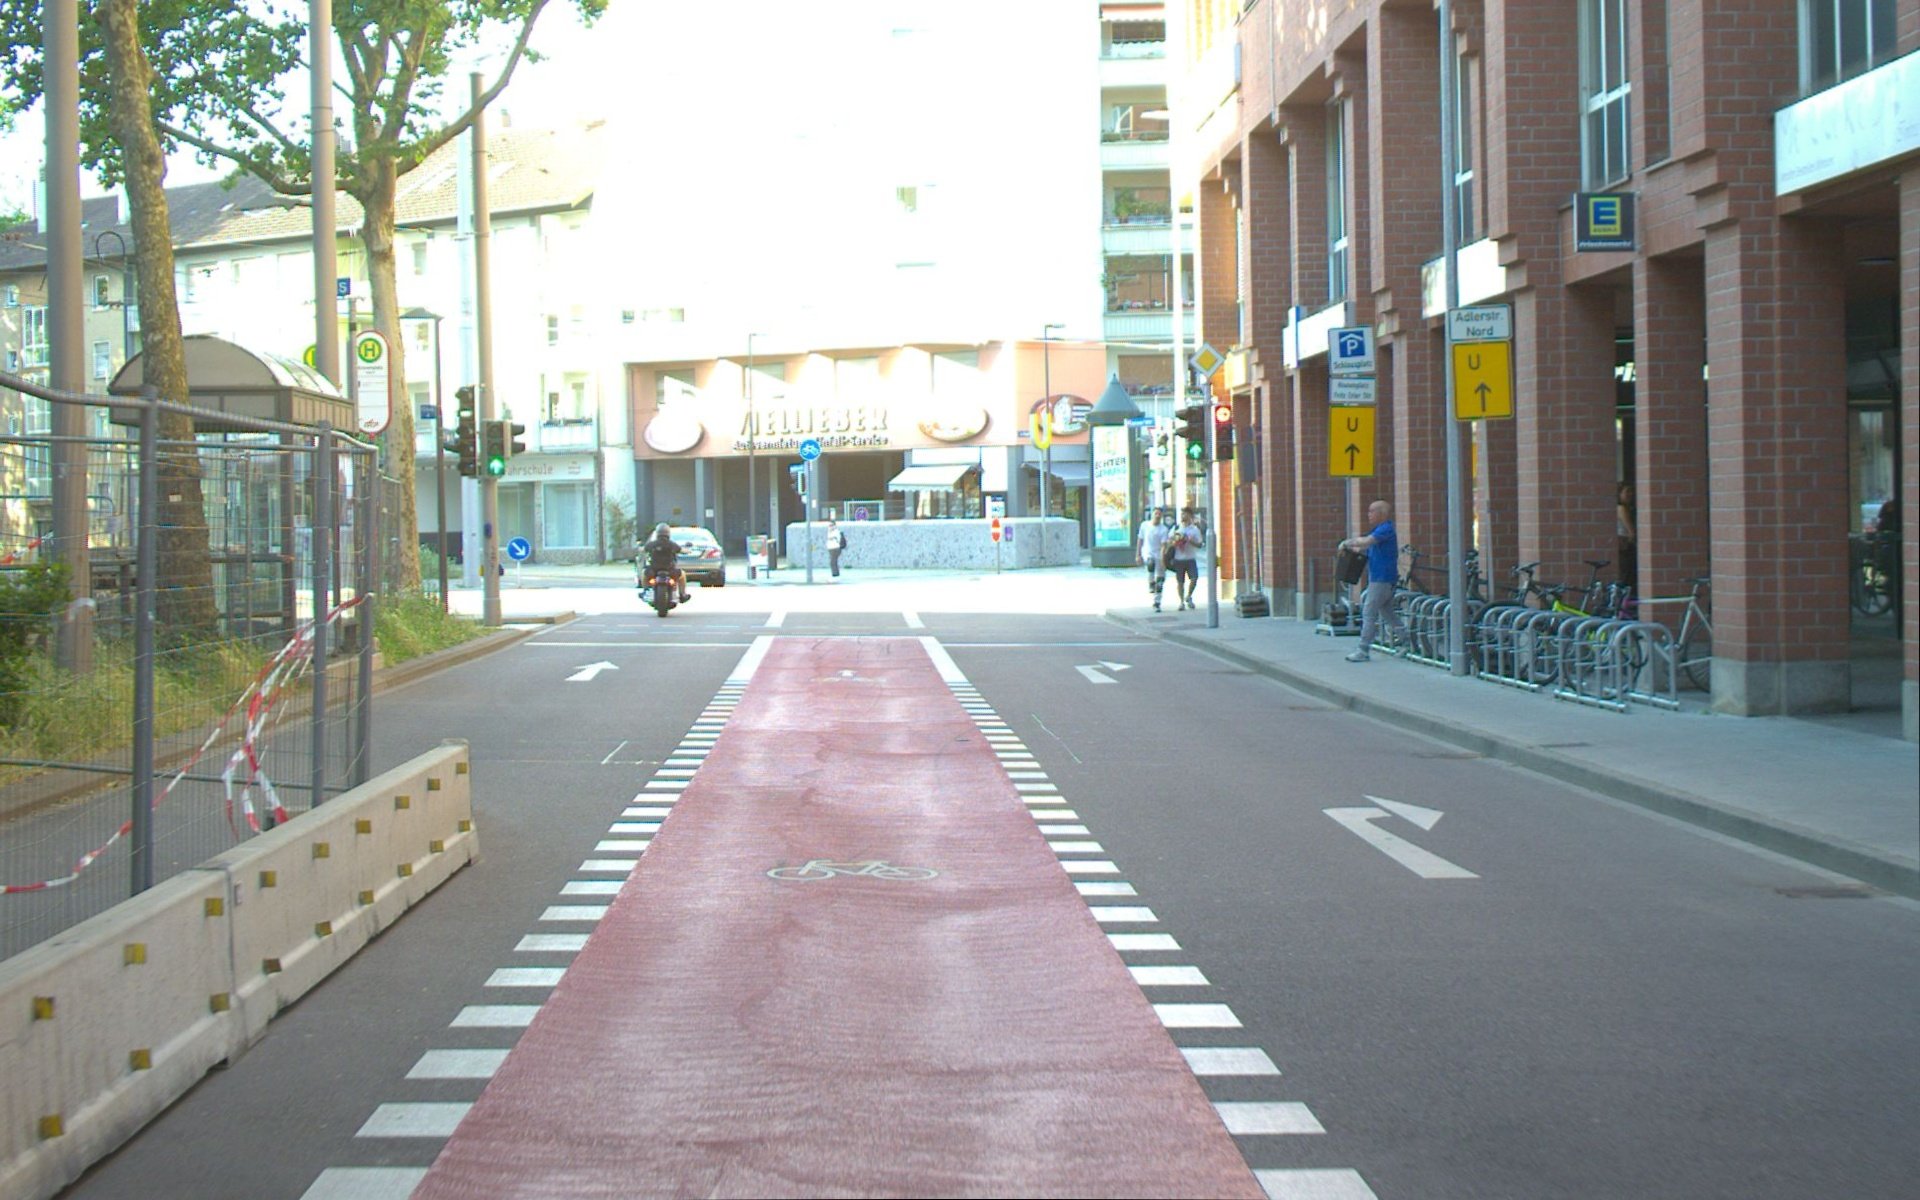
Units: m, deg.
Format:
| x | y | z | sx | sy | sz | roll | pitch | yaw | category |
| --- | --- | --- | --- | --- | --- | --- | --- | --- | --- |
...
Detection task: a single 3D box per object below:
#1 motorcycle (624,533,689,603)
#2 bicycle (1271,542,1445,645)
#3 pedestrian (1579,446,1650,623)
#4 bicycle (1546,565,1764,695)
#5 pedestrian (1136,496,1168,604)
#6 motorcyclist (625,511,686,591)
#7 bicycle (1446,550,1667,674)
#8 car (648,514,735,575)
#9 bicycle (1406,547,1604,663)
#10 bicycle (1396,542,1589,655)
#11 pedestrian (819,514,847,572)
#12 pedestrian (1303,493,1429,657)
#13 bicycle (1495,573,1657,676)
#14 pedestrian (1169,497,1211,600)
| x | y | z | sx | sy | sz | roll | pitch | yaw | category |
| --- | --- | --- | --- | --- | --- | --- | --- | --- | --- |
| -5.168 | -0.561 | 58.641 | 0.973 | 1.128 | 2.805 | 1 | 1 | -3 | motorcycle |
| 4.494 | -0.075 | 38.867 | 1.891 | 1.115 | 0.475 | -1 | 1 | -2 | bicycle |
| 7.525 | -0.759 | 39.552 | 0.607 | 2.007 | 0.661 | -1 | 1 | -7 | pedestrian |
| 5.648 | 0.239 | 27.977 | 1.611 | 0.951 | 0.555 | -3 | 1 | 0 | bicycle |
| 3.215 | -0.841 | 57.633 | 0.476 | 1.786 | 0.541 | -1 | 1 | -2 | pedestrian |
| -5.174 | -0.841 | 58.533 | 0.970 | 1.342 | 1.138 | 1 | 1 | -3 | motorcyclist |
| 5.573 | 0.107 | 32.184 | 1.933 | 1.053 | 0.572 | -3 | 1 | 2 | bicycle |
| -6.384 | -1.338 | 81.419 | 1.923 | 1.384 | 4.001 | -1 | 2 | -6 | car |
| 5.515 | 0.043 | 34.824 | 1.891 | 1.115 | 0.550 | -1 | 1 | -2 | bicycle |
| 5.492 | -0.019 | 35.506 | 1.891 | 1.115 | 0.475 | -1 | 1 | -1 | bicycle |
| -3.519 | -1.580 | 95.250 | 0.539 | 1.578 | 0.557 | -2 | 2 | -44 | pedestrian |
| 4.358 | -0.273 | 36.961 | 1.194 | 1.690 | 0.885 | -3 | 1 | 1 | pedestrian |
| 5.501 | 0.216 | 30.727 | 1.334 | 0.838 | 0.425 | -3 | 1 | 0 | bicycle |
| 3.848 | -0.870 | 57.596 | 0.633 | 1.719 | 0.630 | -1 | 1 | -2 | pedestrian |
